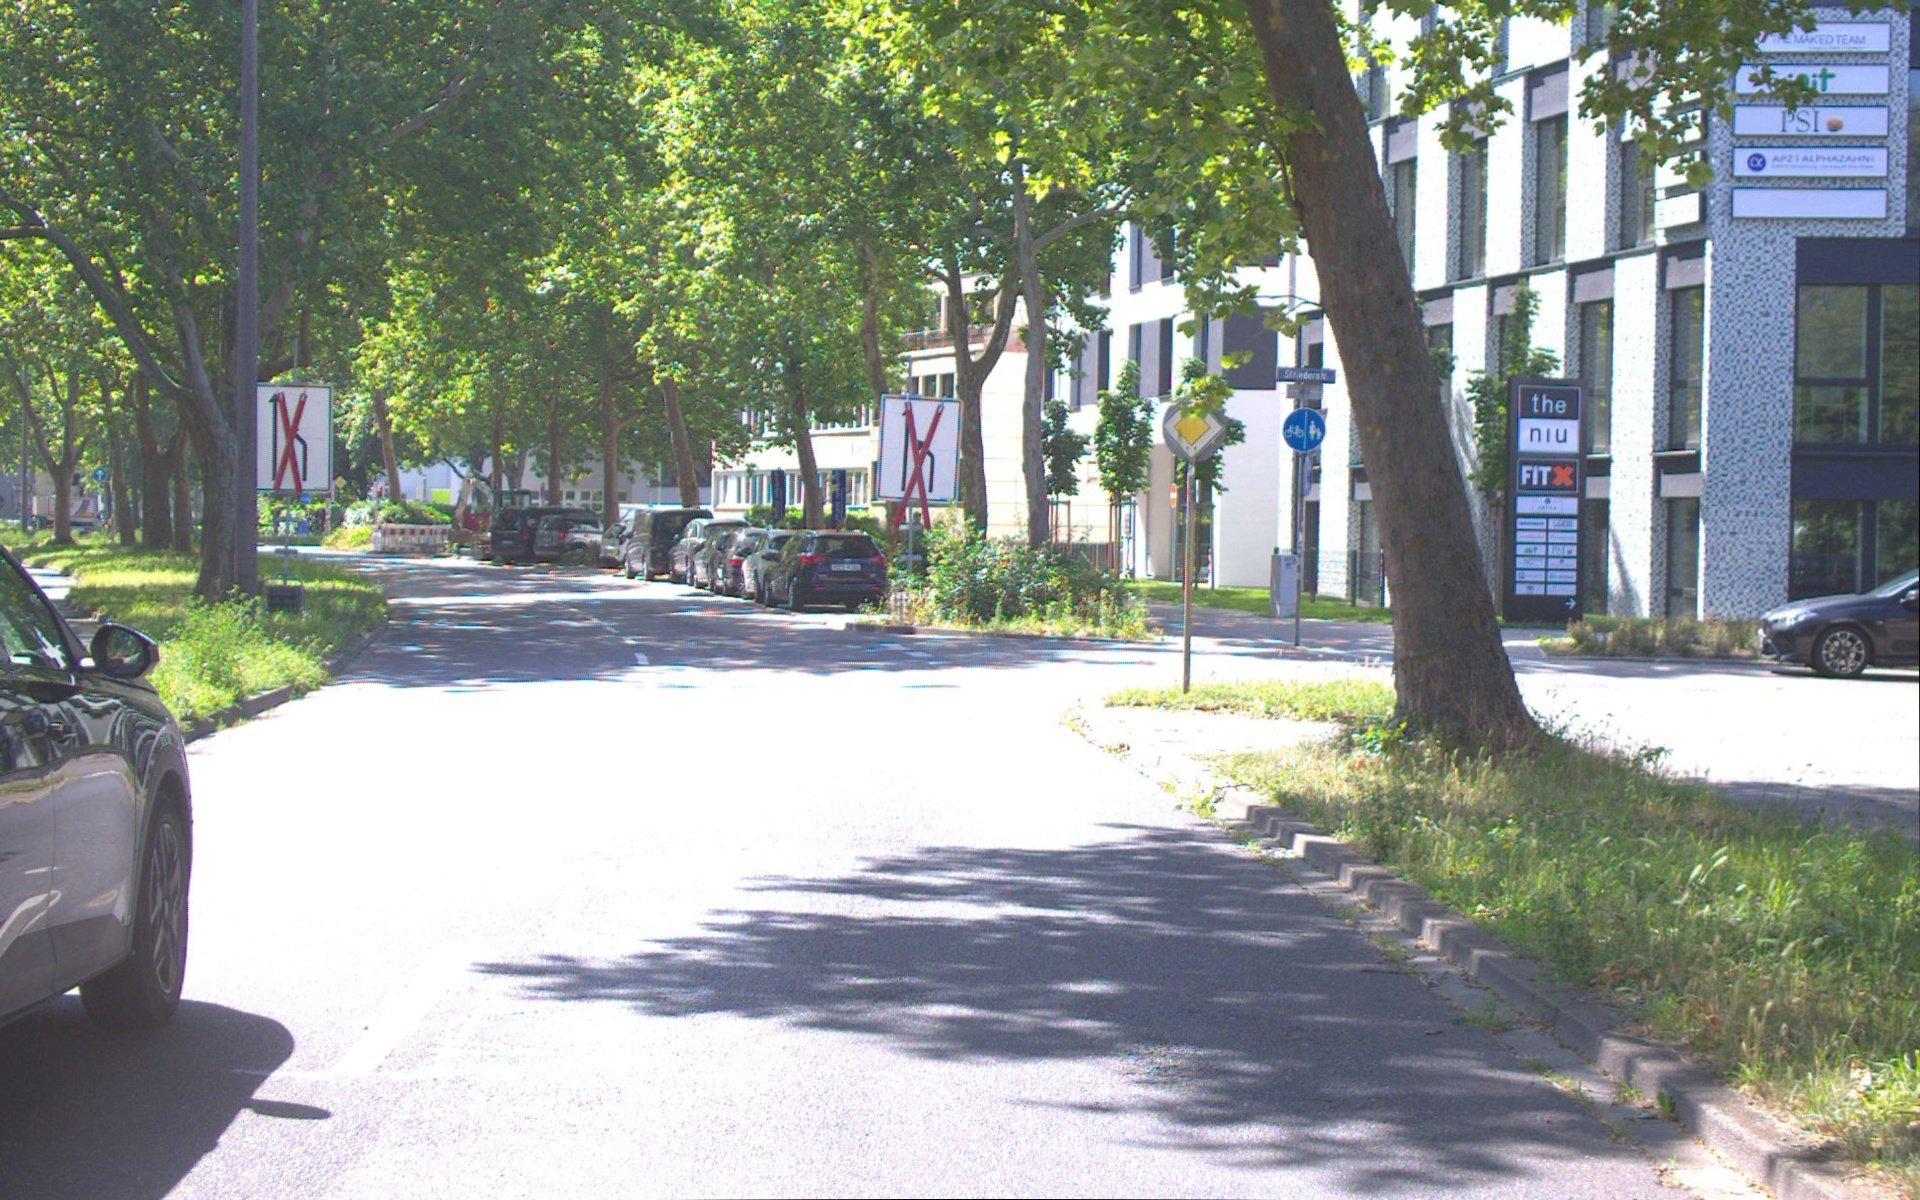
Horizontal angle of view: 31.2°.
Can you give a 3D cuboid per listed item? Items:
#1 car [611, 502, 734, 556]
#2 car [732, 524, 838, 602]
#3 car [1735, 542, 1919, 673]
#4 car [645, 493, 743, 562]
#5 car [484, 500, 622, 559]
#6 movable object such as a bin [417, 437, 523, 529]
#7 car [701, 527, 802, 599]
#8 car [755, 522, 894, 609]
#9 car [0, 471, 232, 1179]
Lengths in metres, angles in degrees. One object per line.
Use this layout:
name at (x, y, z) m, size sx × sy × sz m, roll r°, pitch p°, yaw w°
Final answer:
car at (-8.931, -2.207, 106.709) m, size 3.551 × 1.634 × 1.660 m, roll 0°, pitch 1°, yaw -16°
car at (-3.564, -0.773, 69.416) m, size 1.706 × 1.482 × 4.102 m, roll 0°, pitch 2°, yaw -9°
car at (11.810, 0.099, 42.264) m, size 4.249 × 1.512 × 1.999 m, roll 2°, pitch 1°, yaw 8°
car at (-6.728, -1.850, 86.552) m, size 1.706 × 1.663 × 4.535 m, roll 0°, pitch 2°, yaw -14°
car at (-13.356, -2.320, 112.812) m, size 4.100 × 1.873 × 1.785 m, roll -1°, pitch 2°, yaw -31°
movable object such as a bin at (-17.645, -4.211, 123.729) m, size 2.329 × 3.229 × 3.430 m, roll -1°, pitch 2°, yaw -39°
car at (-4.539, -0.827, 74.289) m, size 1.706 × 1.450 × 4.657 m, roll 0°, pitch 2°, yaw -9°
car at (-2.552, -0.678, 63.614) m, size 1.706 × 1.482 × 4.721 m, roll -1°, pitch 2°, yaw -13°
car at (-3.257, 0.524, 9.022) m, size 1.872 × 1.690 × 4.436 m, roll 0°, pitch 1°, yaw -2°
